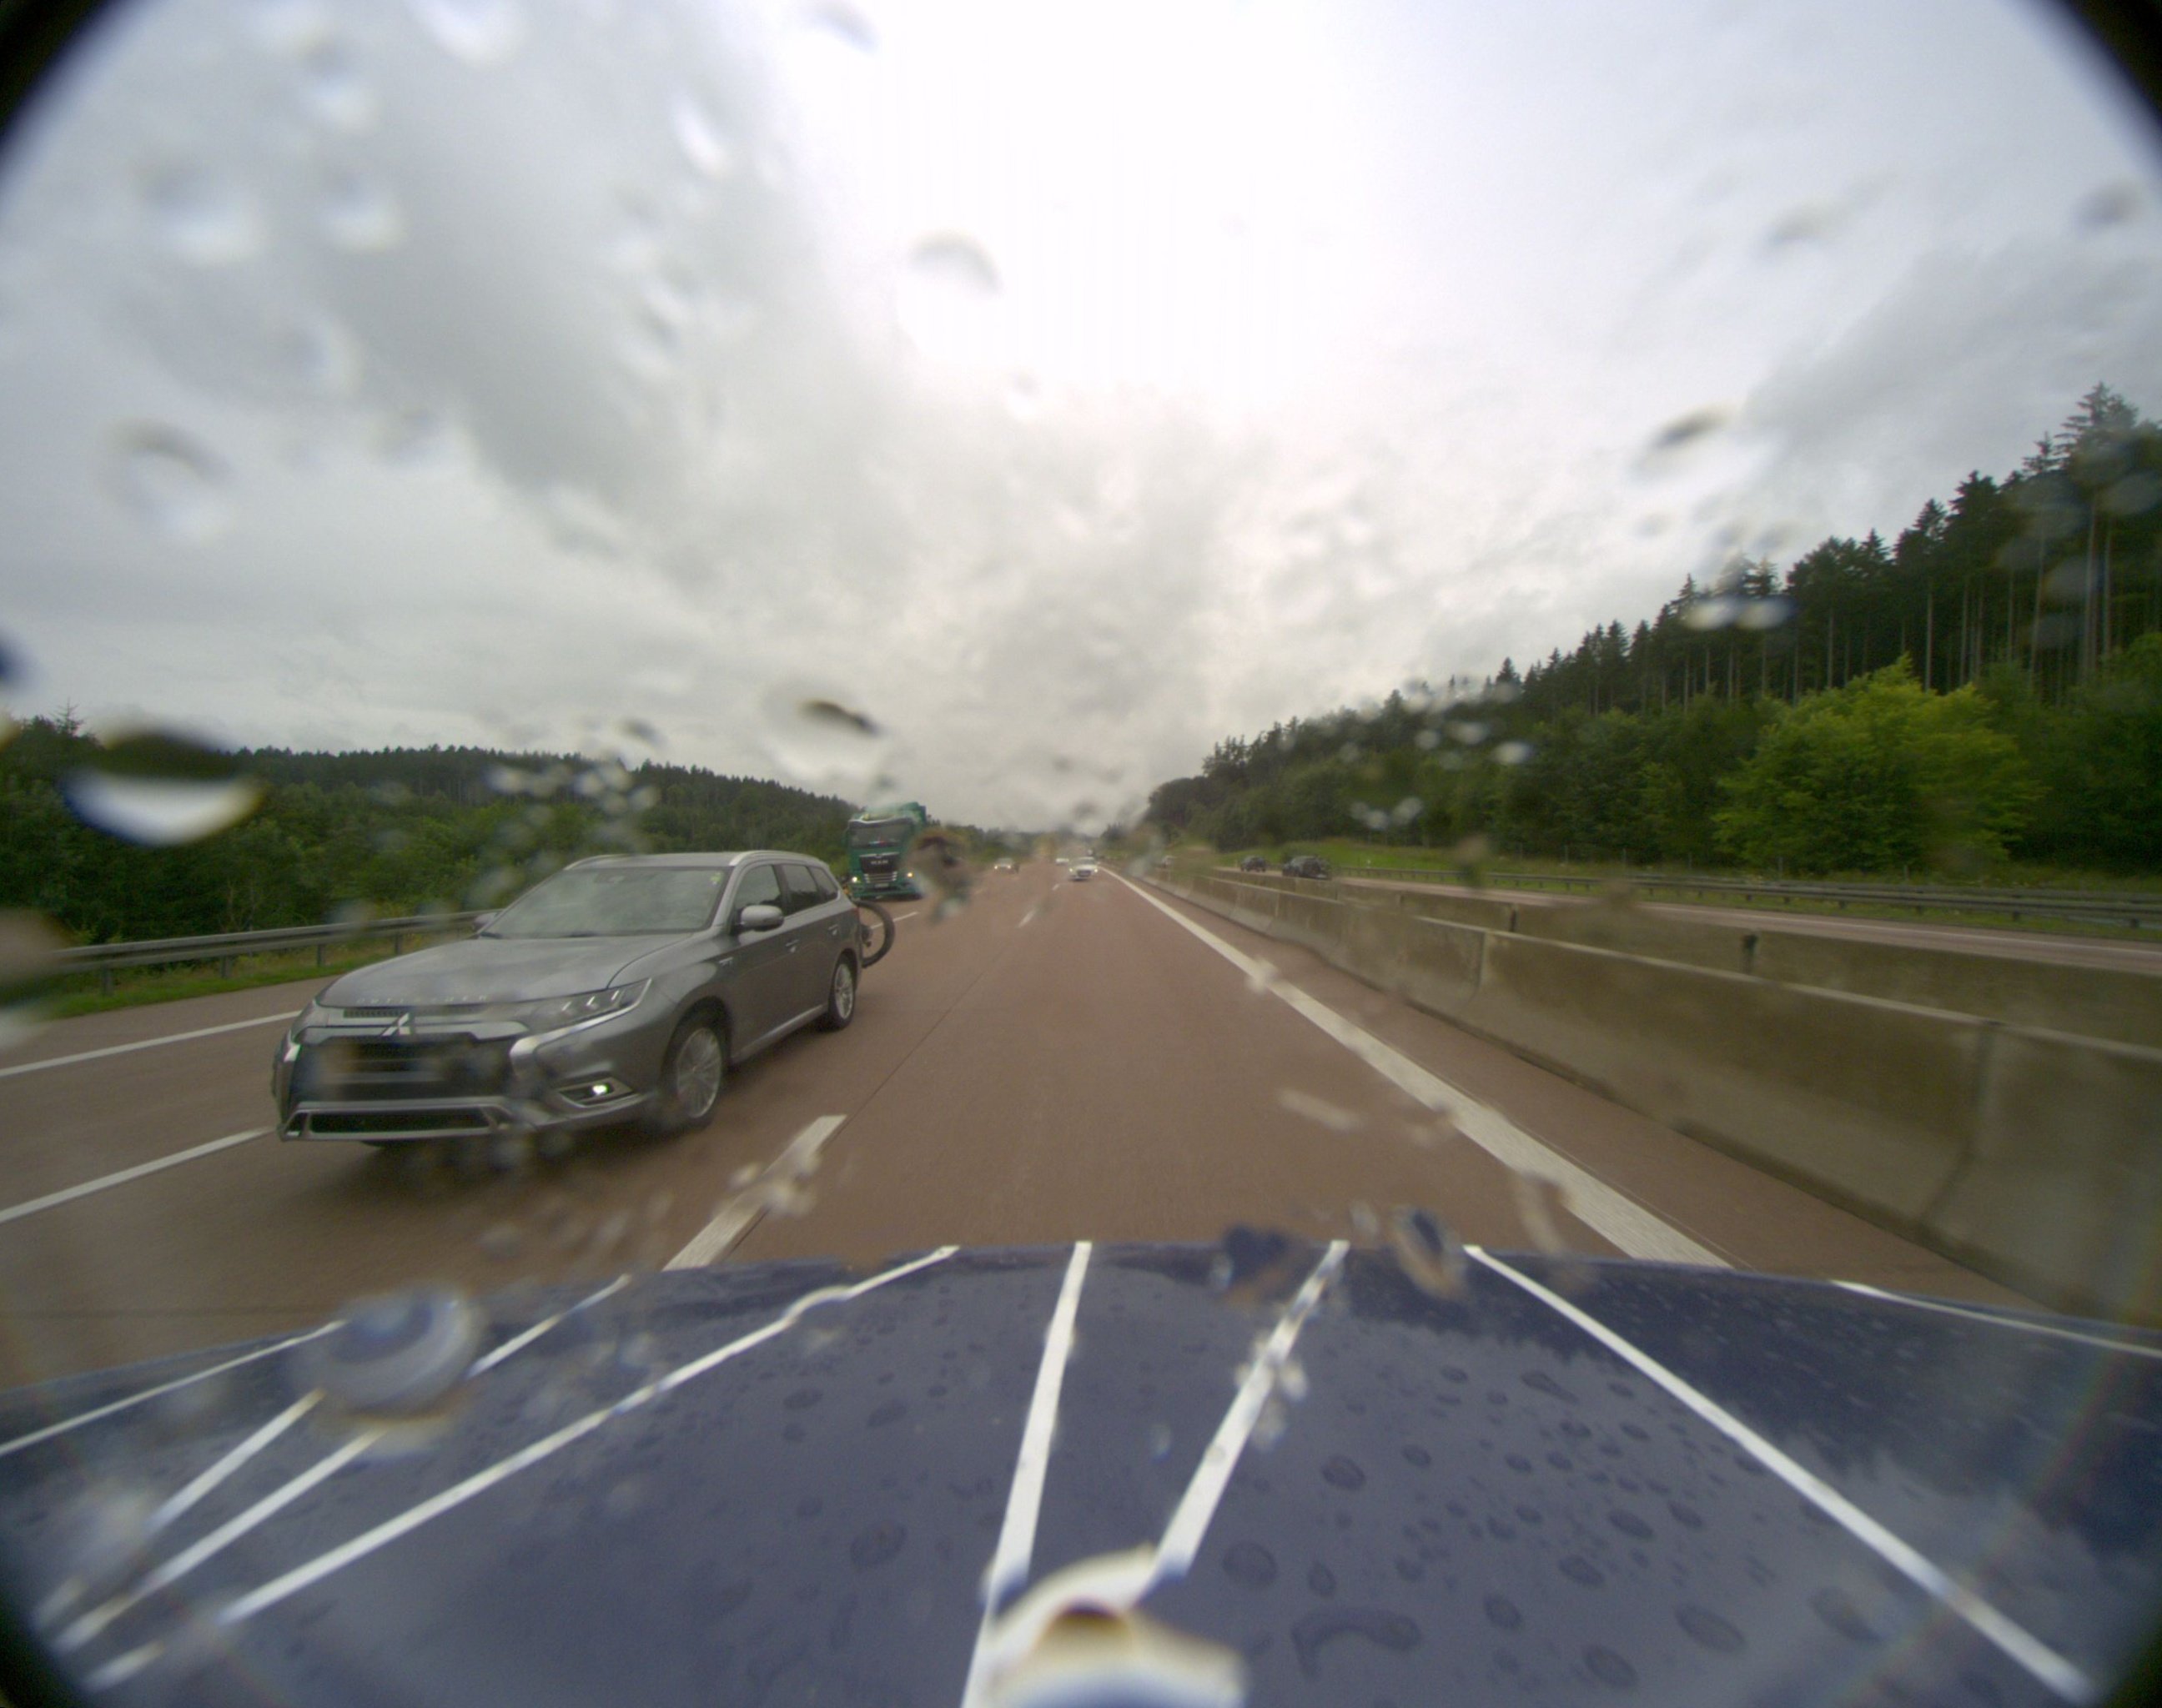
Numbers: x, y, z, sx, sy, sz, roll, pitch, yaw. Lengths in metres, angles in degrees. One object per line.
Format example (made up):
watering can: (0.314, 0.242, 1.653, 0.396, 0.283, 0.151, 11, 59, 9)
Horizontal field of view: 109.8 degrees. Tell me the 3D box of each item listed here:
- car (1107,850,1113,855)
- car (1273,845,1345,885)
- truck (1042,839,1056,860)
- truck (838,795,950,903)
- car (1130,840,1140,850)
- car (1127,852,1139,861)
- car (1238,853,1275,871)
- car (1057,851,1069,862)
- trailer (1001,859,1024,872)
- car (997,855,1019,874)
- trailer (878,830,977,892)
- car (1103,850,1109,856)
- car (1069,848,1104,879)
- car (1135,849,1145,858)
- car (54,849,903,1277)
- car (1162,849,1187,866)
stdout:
car: (9.890, -0.543, 259.250, 1.654, 1.381, 4.809, 2, 0, -1)
car: (12.515, 0.534, 42.095, 2.286, 1.851, 5.727, -2, 1, 1)
truck: (-6.816, -1.044, 163.678, 2.610, 4.190, 6.248, -2, 2, -1)
truck: (-7.589, -0.266, 31.873, 2.905, 3.942, 6.986, -2, 2, -1)
car: (14.847, -2.544, 207.834, 2.229, 2.570, 6.253, -2, 2, 1)
car: (8.923, 0.456, 130.578, 1.869, 1.542, 4.807, -2, 0, 1)
car: (17.339, 0.735, 75.430, 1.999, 1.551, 5.741, -2, 1, -4)
car: (-2.991, 0.418, 126.572, 1.999, 1.623, 4.929, -2, 1, -1)
trailer: (-6.979, 1.189, 77.929, 1.977, 1.159, 4.638, -2, 0, -1)
car: (-6.972, 0.973, 73.221, 1.702, 1.602, 4.974, -1, 1, -2)
trailer: (-7.656, 0.165, 39.781, 2.889, 2.660, 11.394, -2, 1, -1)
car: (8.065, -0.436, 246.892, 1.998, 1.816, 4.686, 0, 0, 0)
car: (0.294, 0.550, 46.820, 1.999, 1.623, 4.929, -2, 1, -1)
car: (11.953, -0.118, 154.004, 1.720, 1.573, 4.315, 0, 1, 0)
car: (-3.141, 0.849, 6.029, 1.998, 1.584, 5.818, -2, 1, 0)
car: (9.620, 0.321, 78.747, 1.998, 1.551, 4.945, -2, 1, 1)
